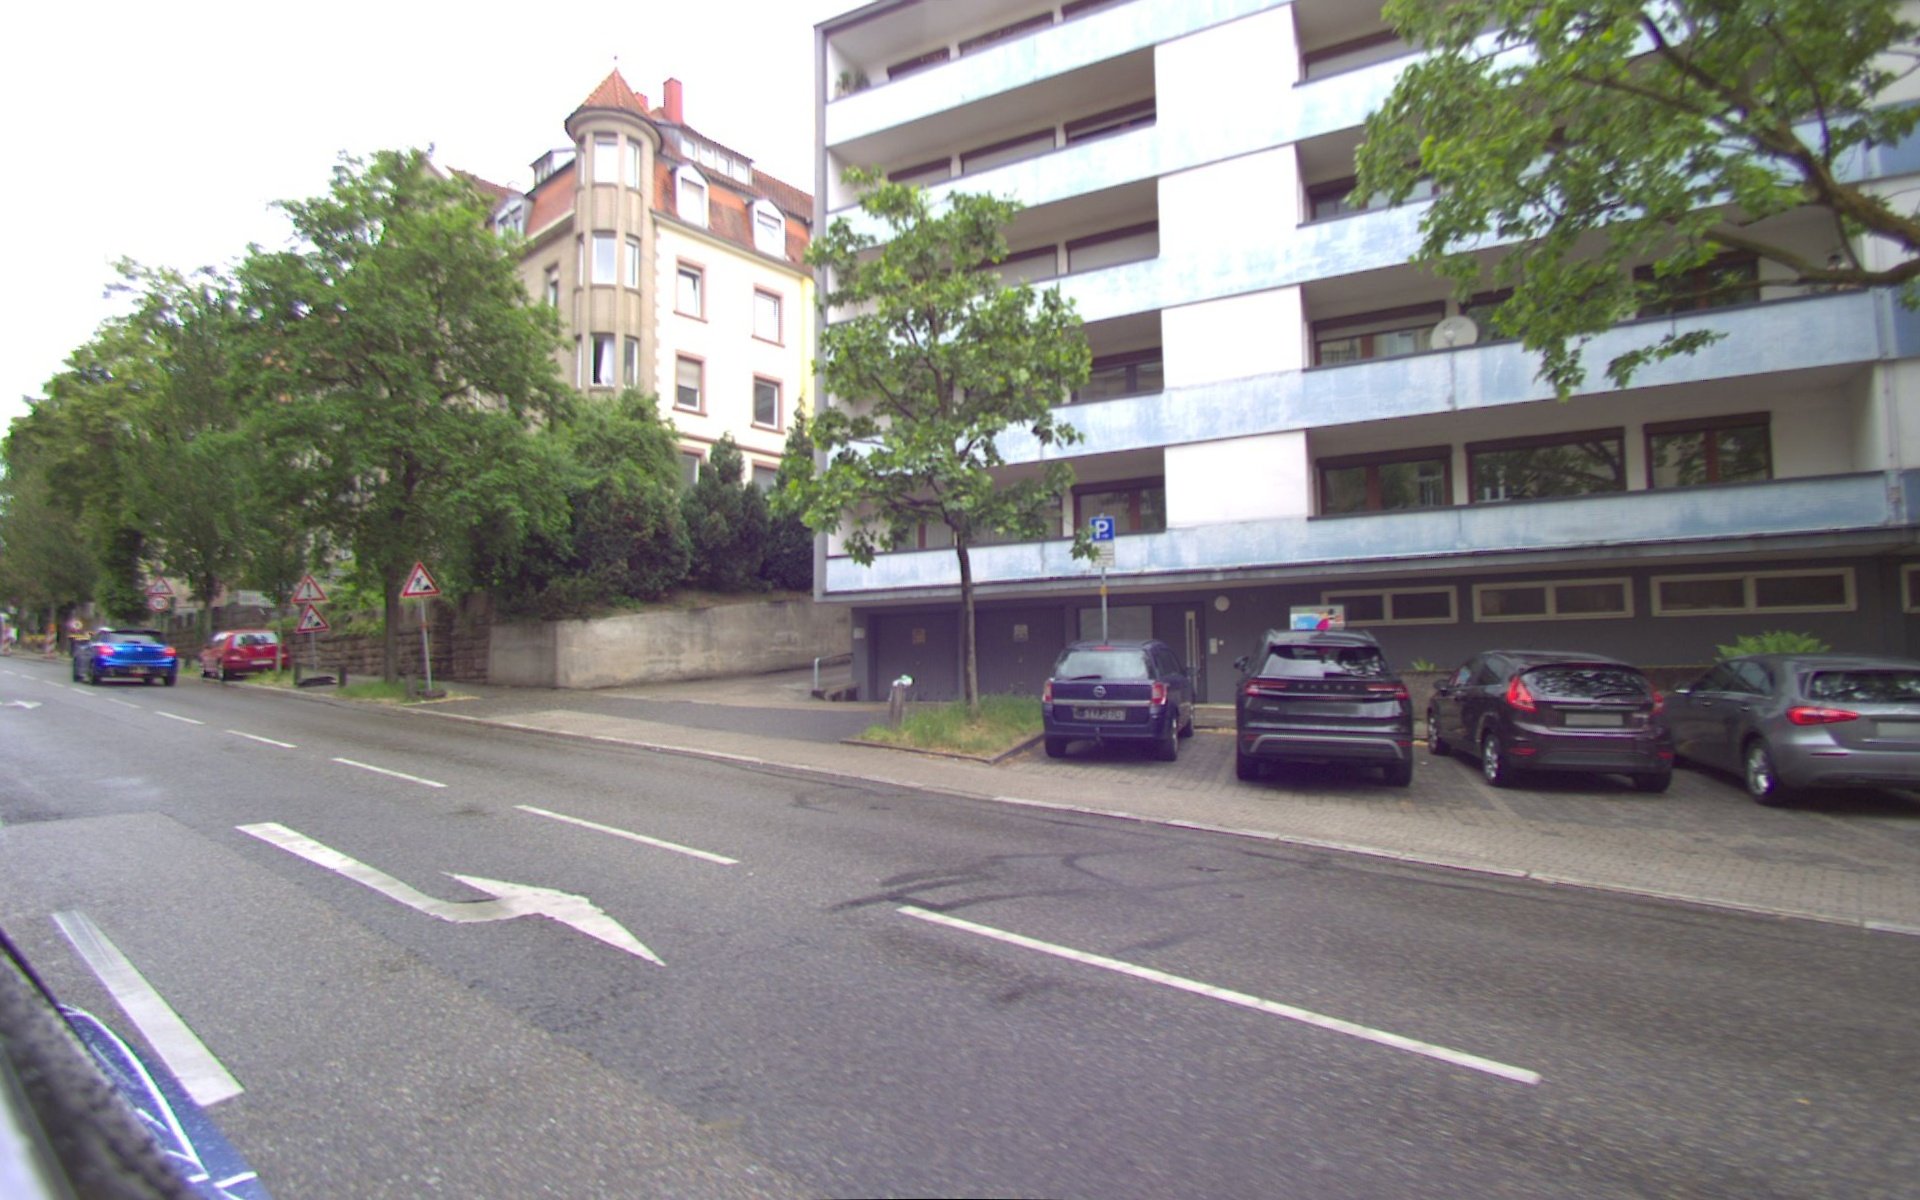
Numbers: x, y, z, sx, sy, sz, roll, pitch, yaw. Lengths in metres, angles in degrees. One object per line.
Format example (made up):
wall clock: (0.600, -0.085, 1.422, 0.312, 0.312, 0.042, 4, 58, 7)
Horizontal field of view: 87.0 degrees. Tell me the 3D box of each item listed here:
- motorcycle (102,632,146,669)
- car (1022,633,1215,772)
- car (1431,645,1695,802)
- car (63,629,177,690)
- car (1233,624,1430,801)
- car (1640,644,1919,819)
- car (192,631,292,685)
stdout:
motorcycle: (-33.526, 2.018, 40.564, 3.058, 1.425, 0.792, -2, -1, 39)
car: (2.370, 1.260, 14.068, 1.928, 1.586, 4.342, 0, -2, 19)
car: (6.789, 1.278, 11.870, 1.683, 1.441, 3.972, 0, -2, 16)
car: (-21.850, 1.511, 26.278, 3.741, 1.462, 1.697, -1, -3, 42)
car: (4.360, 1.155, 12.116, 1.841, 1.685, 4.351, 0, -2, 19)
car: (8.805, 1.211, 10.528, 1.732, 1.441, 3.913, 0, -2, 16)
car: (-21.339, 1.668, 30.021, 4.063, 1.462, 1.596, -1, -2, 42)
